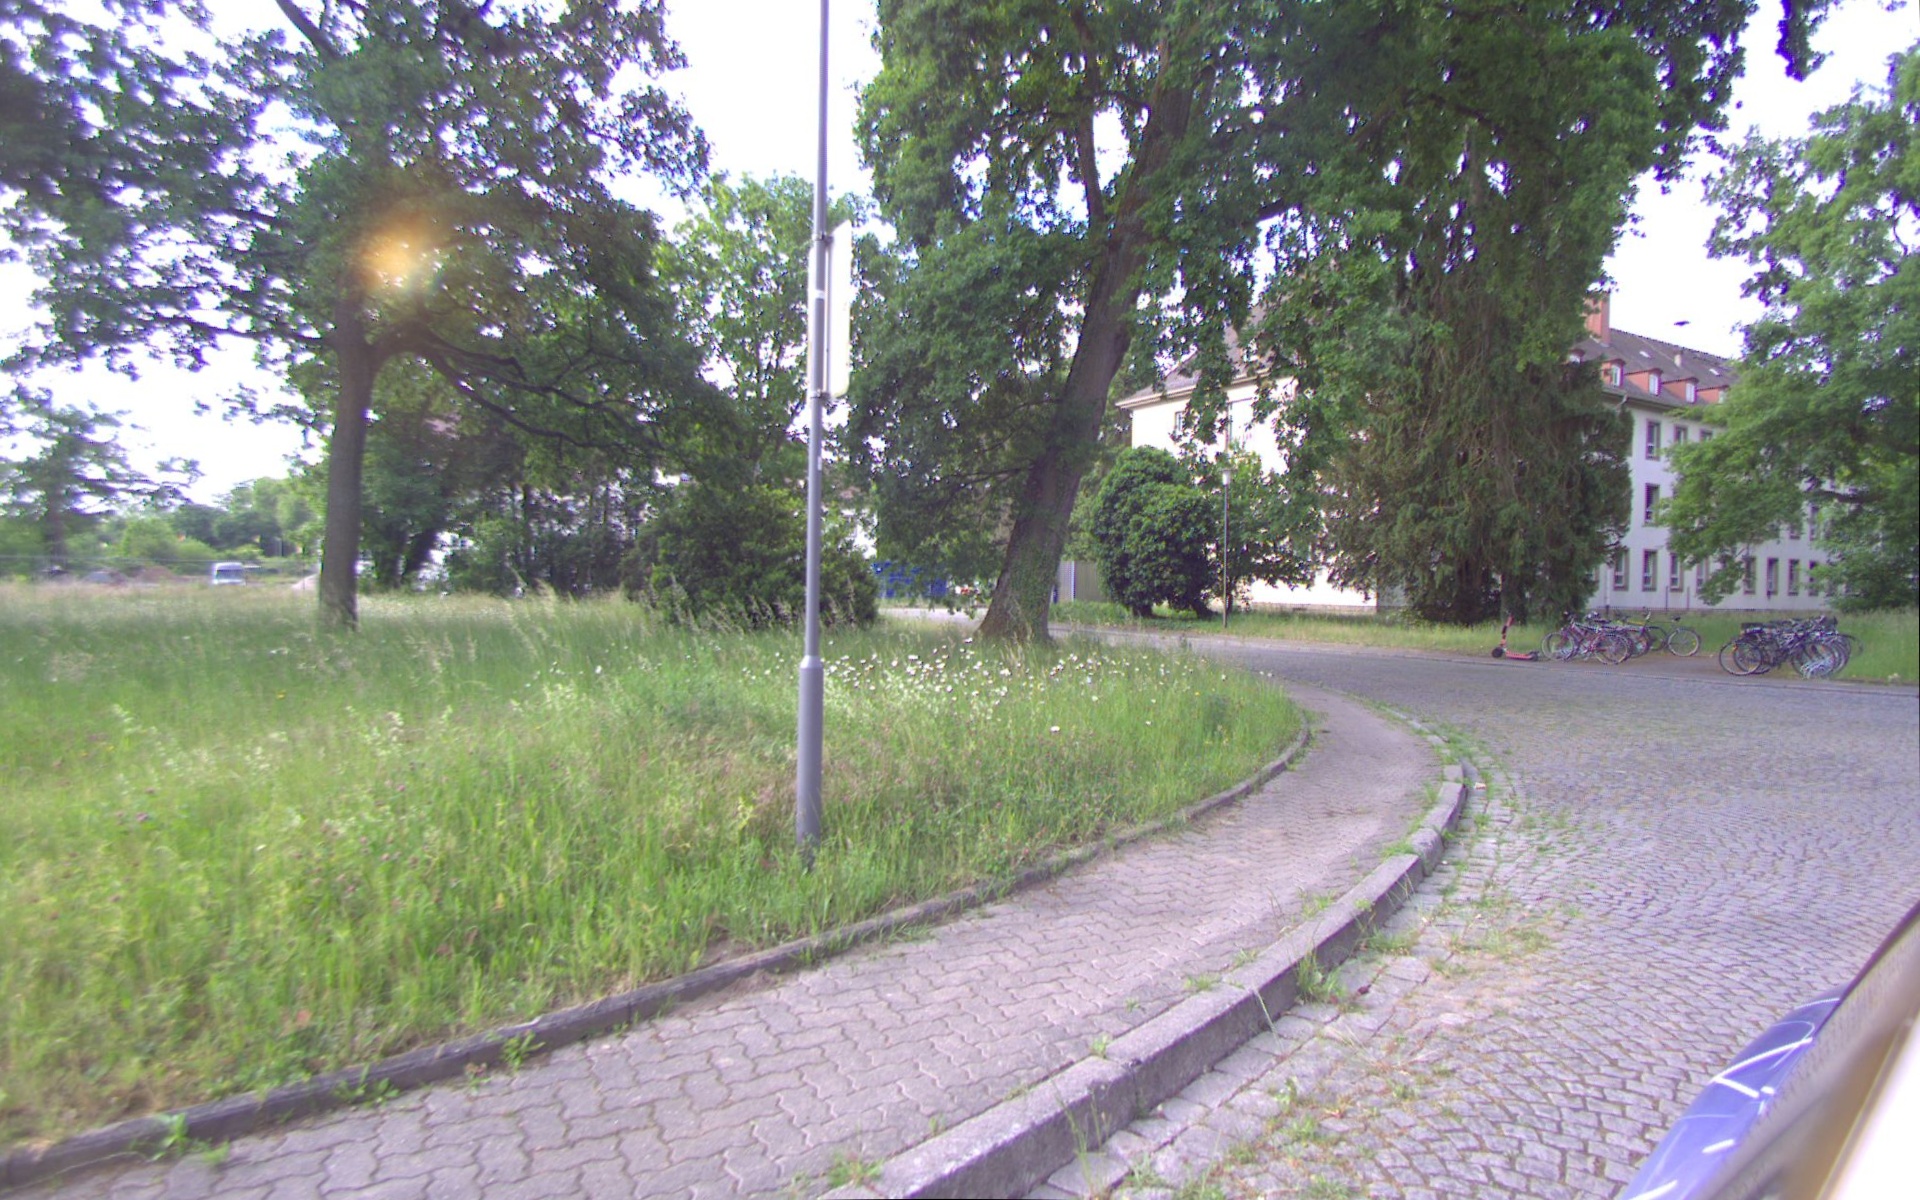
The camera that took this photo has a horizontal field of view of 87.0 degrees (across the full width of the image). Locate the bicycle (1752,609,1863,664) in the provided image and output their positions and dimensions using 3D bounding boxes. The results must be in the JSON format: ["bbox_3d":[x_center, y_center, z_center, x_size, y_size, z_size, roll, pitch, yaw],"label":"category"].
[{"bbox_3d":[18.952,0.791,22.681,1.857,1.101,0.513,2,3,39],"label":"bicycle"}]

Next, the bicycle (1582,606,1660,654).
[{"bbox_3d":[16.250,0.724,24.922,1.553,1.101,0.556,2,1,30],"label":"bicycle"}]

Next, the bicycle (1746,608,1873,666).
[{"bbox_3d":[17.950,0.766,21.446,2.008,1.101,0.472,2,3,39],"label":"bicycle"}]

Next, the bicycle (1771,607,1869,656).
[{"bbox_3d":[21.327,0.764,25.145,1.817,1.101,0.546,2,3,39],"label":"bicycle"}]

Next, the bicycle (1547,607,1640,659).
[{"bbox_3d":[14.667,0.751,23.466,1.800,1.101,0.473,2,3,34],"label":"bicycle"}]

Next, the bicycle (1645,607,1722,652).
[{"bbox_3d":[18.509,0.743,25.914,1.557,1.047,0.470,2,1,37],"label":"bicycle"}]

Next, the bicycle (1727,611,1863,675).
[{"bbox_3d":[16.364,0.824,19.893,2.008,1.101,0.472,2,3,39],"label":"bicycle"}]

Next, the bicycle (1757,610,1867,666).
[{"bbox_3d":[18.507,0.801,22.030,1.780,1.101,0.472,2,3,39],"label":"bicycle"}]

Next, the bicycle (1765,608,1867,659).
[{"bbox_3d":[20.273,0.778,24.012,1.799,1.101,0.546,2,3,39],"label":"bicycle"}]

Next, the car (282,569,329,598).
[{"bbox_3d":[-47.334,-1.140,73.171,2.441,2.039,5.832,0,0,-37],"label":"car"}]

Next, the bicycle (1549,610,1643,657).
[{"bbox_3d":[15.009,0.767,23.900,1.844,1.002,0.451,2,1,34],"label":"bicycle"}]

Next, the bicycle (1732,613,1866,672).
[{"bbox_3d":[16.717,0.826,20.224,2.008,1.022,0.472,2,3,39],"label":"bicycle"}]

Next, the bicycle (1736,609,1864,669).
[{"bbox_3d":[17.442,0.783,21.075,2.008,1.101,0.472,2,3,39],"label":"bicycle"}]

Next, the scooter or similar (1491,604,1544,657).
[{"bbox_3d":[13.350,0.717,24.245,0.377,1.209,1.065,1,1,-27],"label":"scooter or similar"}]

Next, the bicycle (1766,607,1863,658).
[{"bbox_3d":[20.750,0.772,24.618,1.743,1.101,0.546,2,3,39],"label":"bicycle"}]
